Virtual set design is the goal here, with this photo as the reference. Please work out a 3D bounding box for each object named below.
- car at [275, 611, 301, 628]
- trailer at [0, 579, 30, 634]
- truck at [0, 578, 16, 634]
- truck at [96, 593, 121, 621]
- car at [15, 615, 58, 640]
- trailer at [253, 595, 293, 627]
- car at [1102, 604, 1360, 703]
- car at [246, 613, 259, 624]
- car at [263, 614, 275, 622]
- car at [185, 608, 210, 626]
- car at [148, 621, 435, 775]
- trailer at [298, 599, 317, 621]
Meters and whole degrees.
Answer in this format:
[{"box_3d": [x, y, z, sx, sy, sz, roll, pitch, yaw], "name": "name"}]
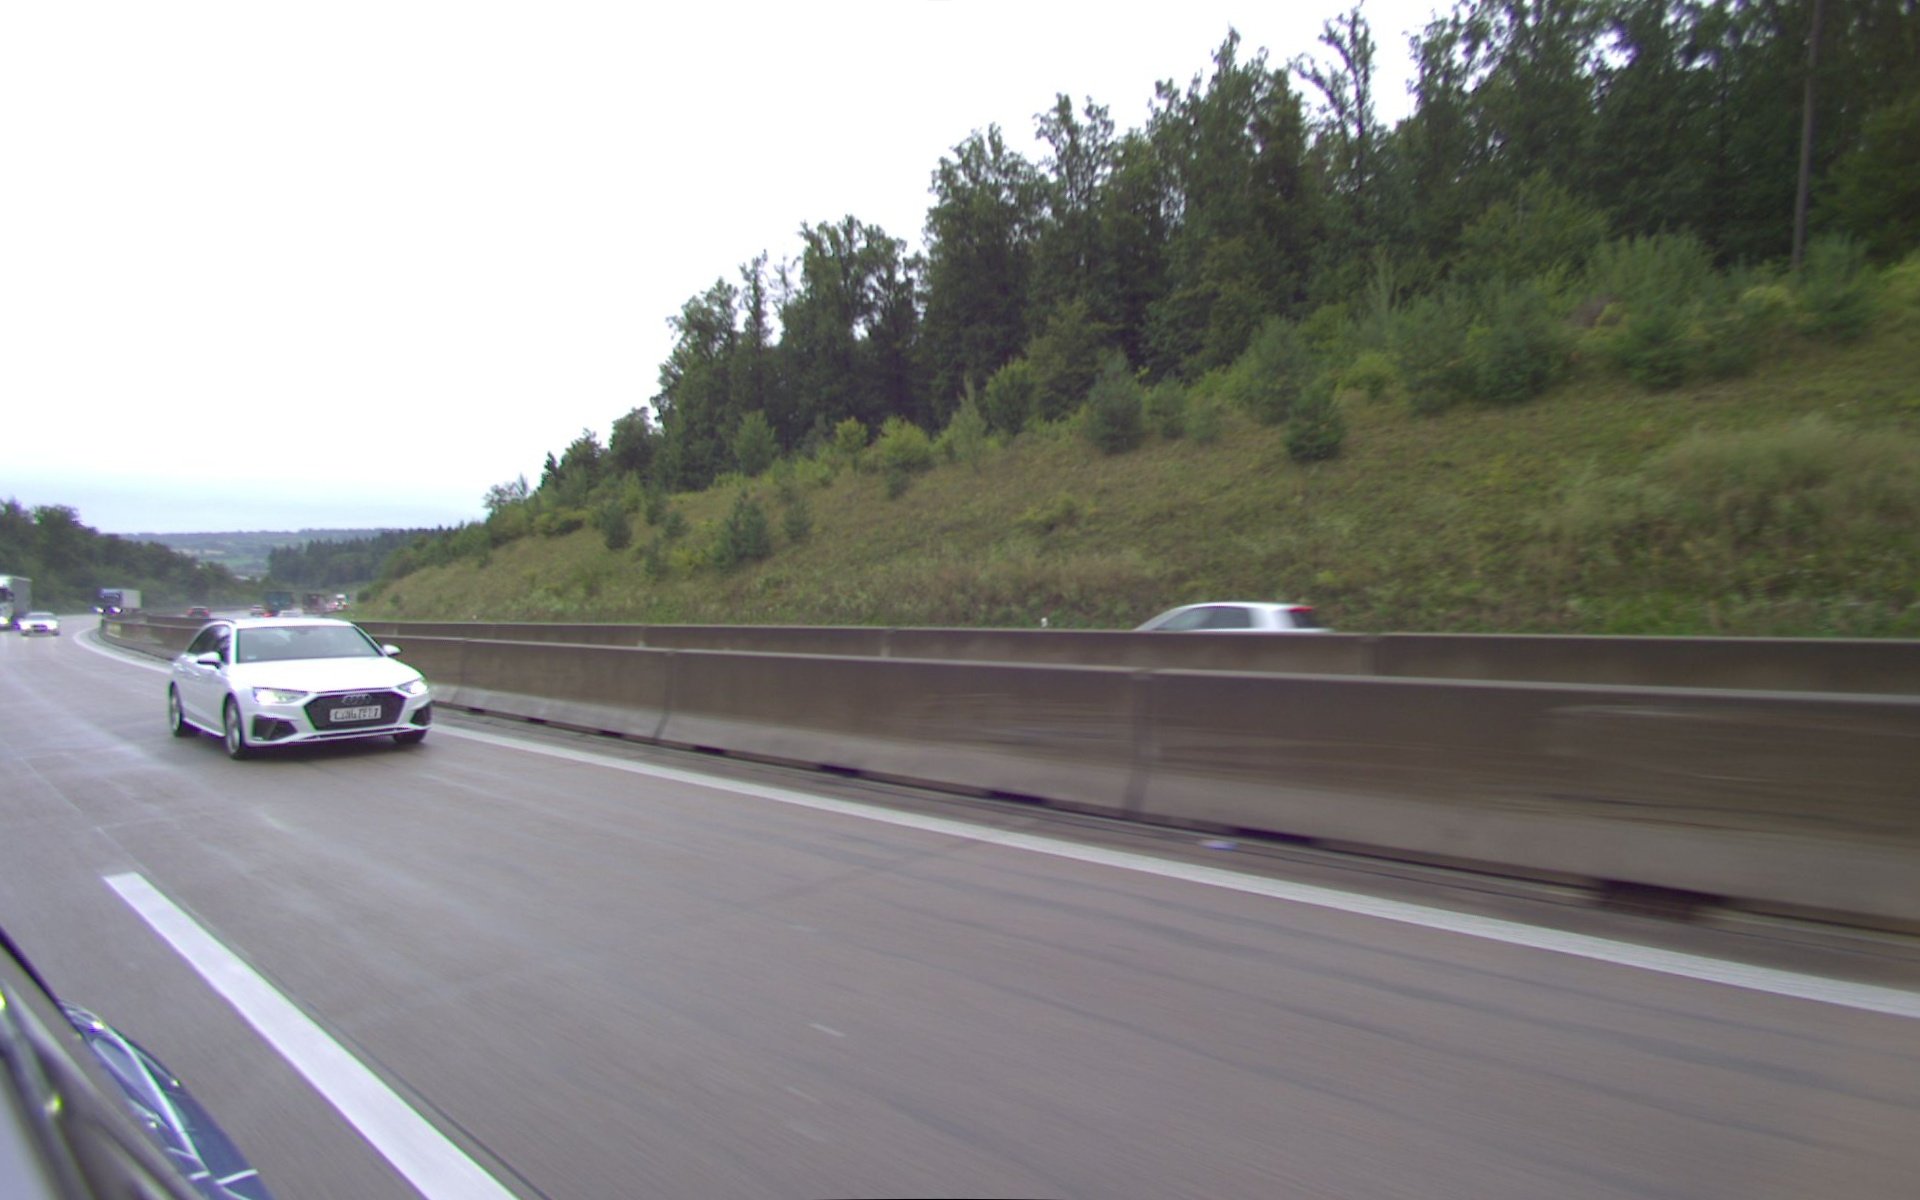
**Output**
[{"box_3d": [-67.356, 1.953, 101.432, 1.709, 1.588, 4.250, 1, -1, -40], "name": "car"}, {"box_3d": [-76.520, 0.614, 80.502, 2.645, 4.071, 13.731, -2, 0, -38], "name": "trailer"}, {"box_3d": [-72.053, 0.506, 74.851, 2.686, 4.071, 5.764, -2, 0, -38], "name": "truck"}, {"box_3d": [-134.224, 1.159, 159.608, 2.695, 4.183, 8.639, 0, -1, -37], "name": "truck"}, {"box_3d": [-57.247, 1.699, 62.768, 1.822, 1.494, 4.456, 0, -1, -41], "name": "car"}, {"box_3d": [-87.029, 1.350, 128.115, 2.871, 3.918, 11.052, 0, -1, -41], "name": "trailer"}, {"box_3d": [4.648, 0.856, 17.683, 3.999, 1.529, 1.758, -1, -1, 42], "name": "car"}, {"box_3d": [-114.493, 3.031, 163.824, 1.707, 1.790, 4.770, 1, -1, -35], "name": "car"}, {"box_3d": [-144.322, 3.776, 211.304, 1.706, 1.504, 4.013, 1, -1, -28], "name": "car"}, {"box_3d": [-80.894, 1.792, 107.341, 1.710, 1.790, 4.764, 1, -1, -42], "name": "car"}, {"box_3d": [-7.911, 0.964, 11.752, 4.936, 1.418, 1.693, -1, -1, 43], "name": "car"}, {"box_3d": [-126.592, 1.946, 196.501, 2.887, 3.990, 13.502, 1, -1, -32], "name": "trailer"}]
